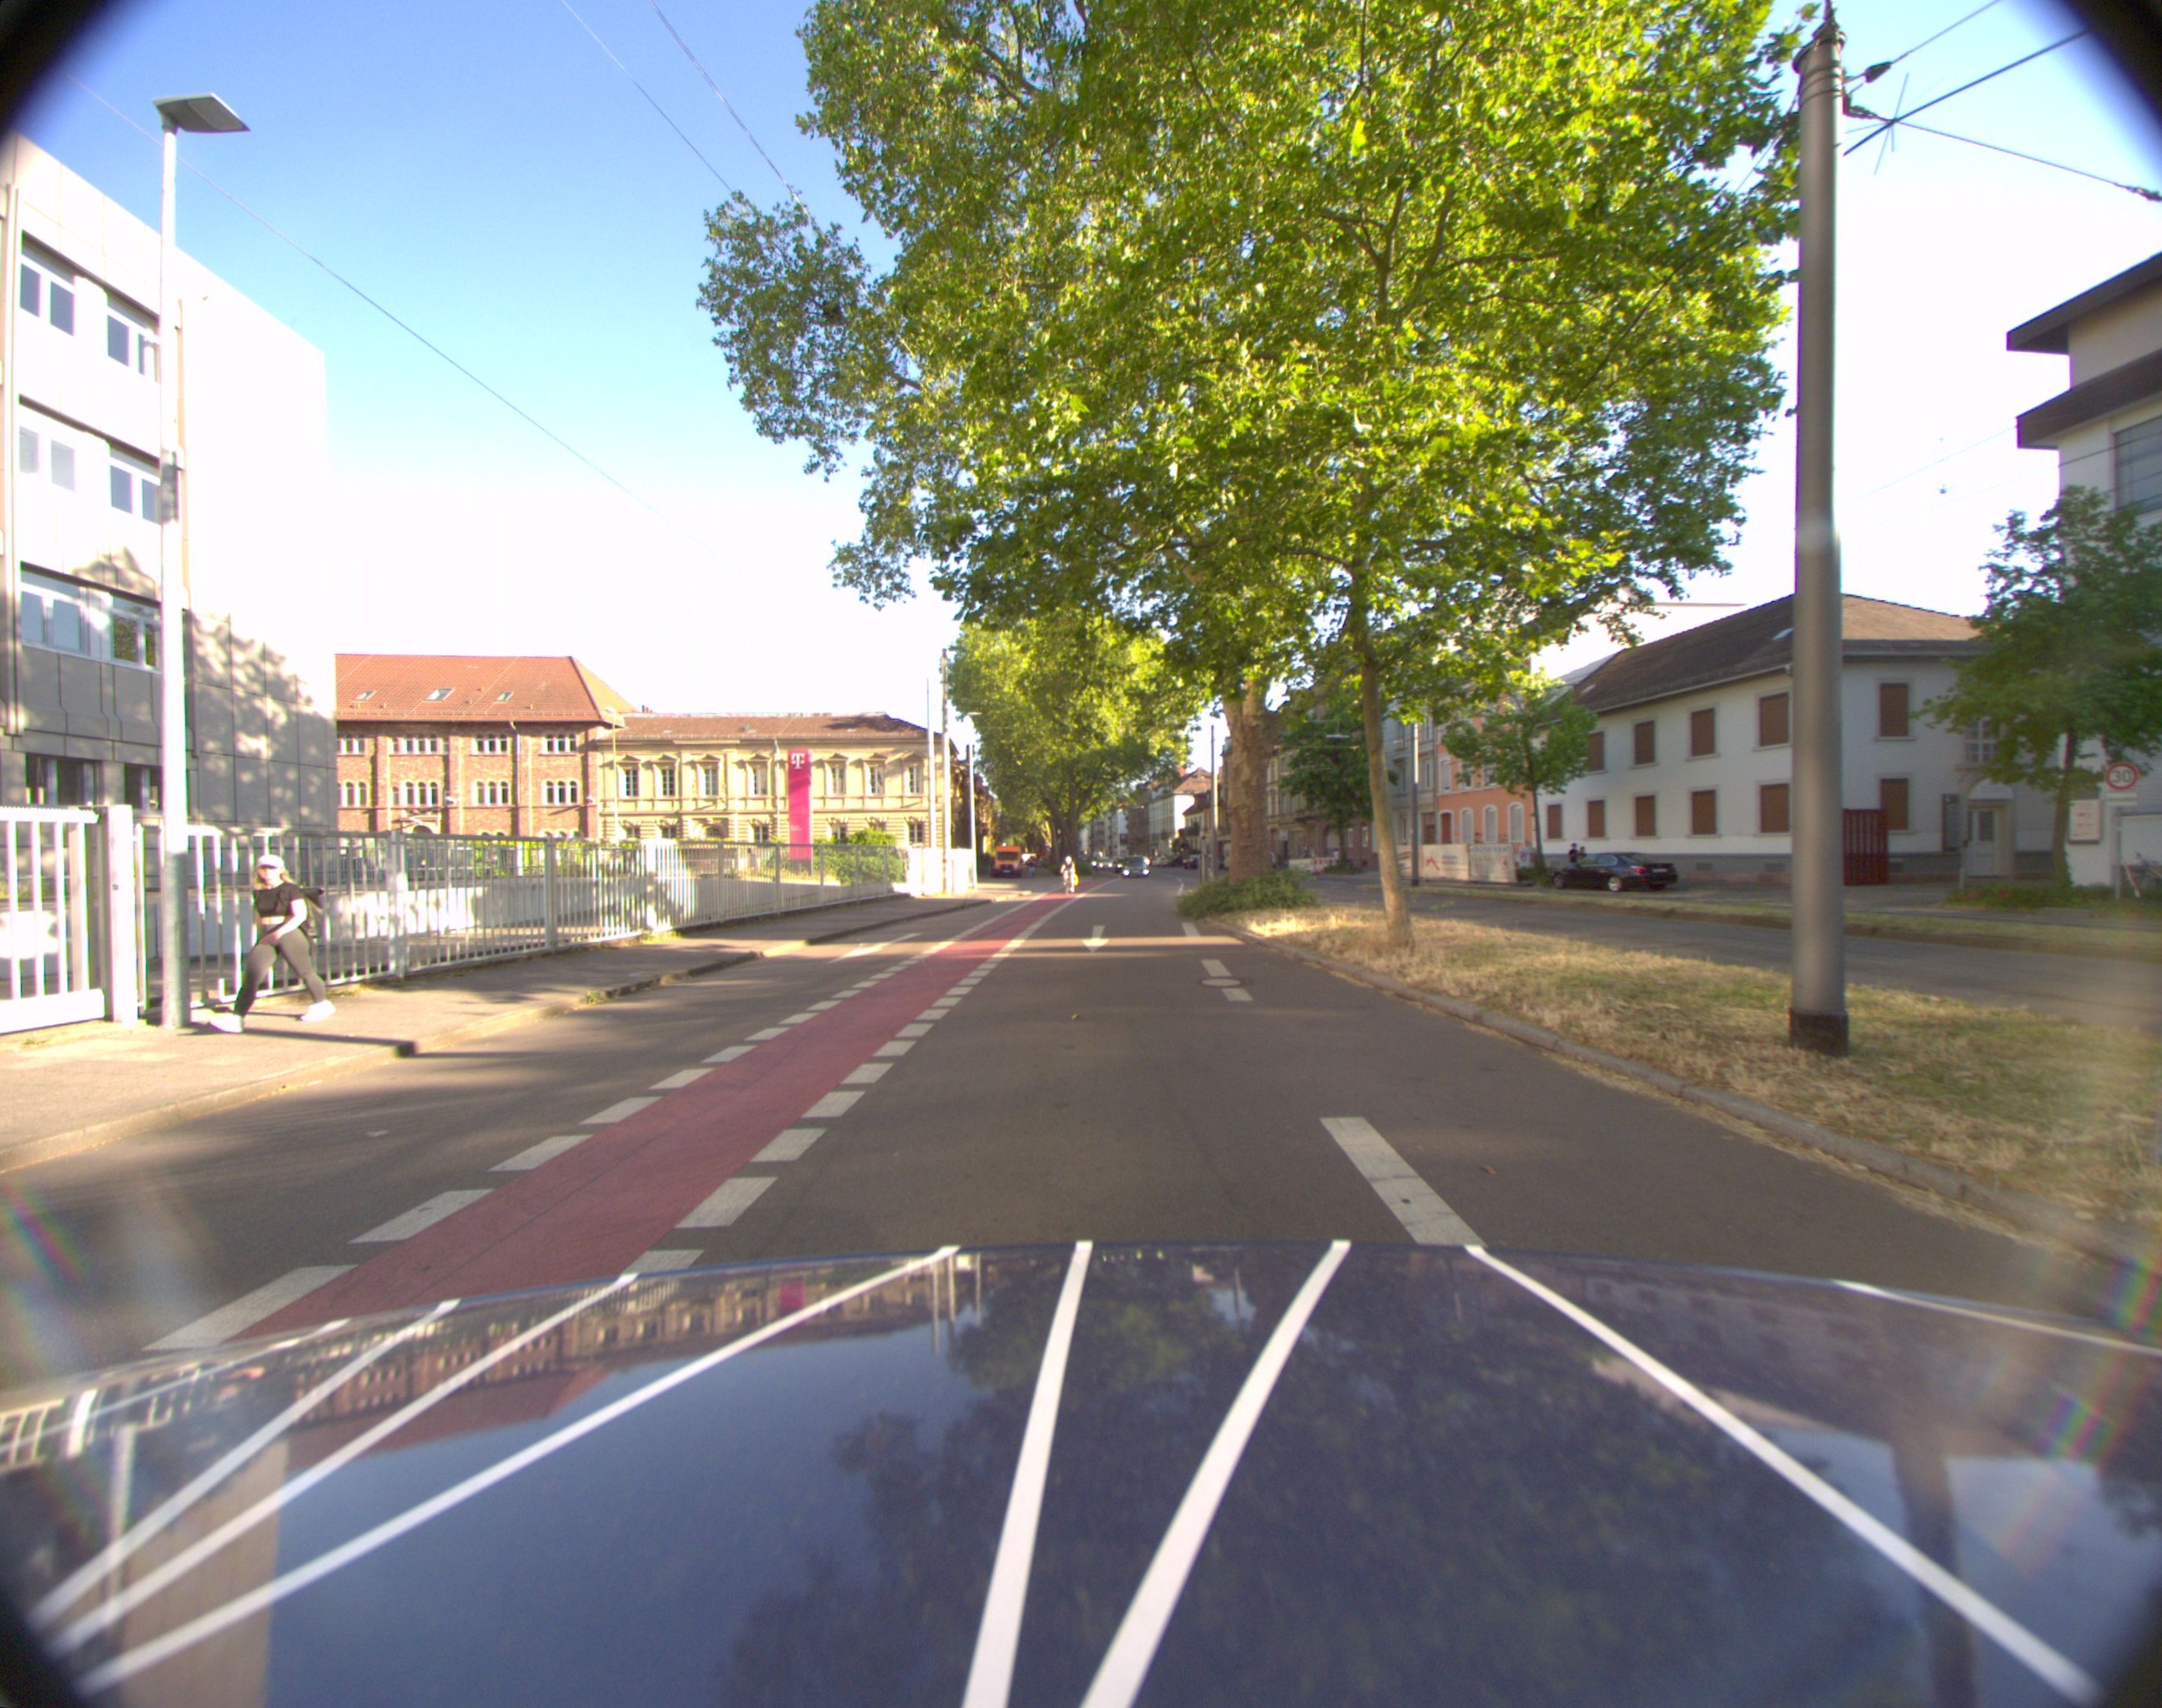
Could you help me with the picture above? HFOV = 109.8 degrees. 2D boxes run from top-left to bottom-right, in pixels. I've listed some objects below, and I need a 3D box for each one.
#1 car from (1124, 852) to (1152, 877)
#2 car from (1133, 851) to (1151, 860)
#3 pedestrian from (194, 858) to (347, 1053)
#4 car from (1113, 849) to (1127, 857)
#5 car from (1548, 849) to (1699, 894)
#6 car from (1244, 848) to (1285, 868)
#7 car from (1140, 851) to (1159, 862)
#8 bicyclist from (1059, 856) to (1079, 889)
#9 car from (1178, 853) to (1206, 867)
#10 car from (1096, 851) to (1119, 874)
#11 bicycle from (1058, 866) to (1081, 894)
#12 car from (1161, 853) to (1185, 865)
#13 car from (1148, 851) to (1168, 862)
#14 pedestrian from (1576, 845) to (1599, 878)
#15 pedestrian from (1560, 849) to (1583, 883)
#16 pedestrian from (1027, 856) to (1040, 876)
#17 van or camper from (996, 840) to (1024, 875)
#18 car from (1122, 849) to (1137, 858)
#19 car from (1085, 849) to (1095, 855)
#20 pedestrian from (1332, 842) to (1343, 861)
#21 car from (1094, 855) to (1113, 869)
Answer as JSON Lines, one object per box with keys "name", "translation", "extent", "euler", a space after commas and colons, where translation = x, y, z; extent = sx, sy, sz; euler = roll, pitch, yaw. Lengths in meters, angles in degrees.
{"name": "car", "translation": [4.247, 0.768, 56.997], "extent": [1.908, 1.634, 4.517], "euler": [-3, 1, 4]}
{"name": "car", "translation": [10.474, 0.263, 130.699], "extent": [2.088, 1.531, 4.253], "euler": [-4, 1, -7]}
{"name": "pedestrian", "translation": [-7.711, 0.923, 7.266], "extent": [0.592, 1.752, 0.770], "euler": [-1, 1, 1]}
{"name": "car", "translation": [7.916, -0.130, 156.217], "extent": [2.088, 1.531, 4.117], "euler": [-4, 1, -7]}
{"name": "car", "translation": [20.522, 0.617, 29.045], "extent": [2.088, 1.462, 4.576], "euler": [-4, 1, -7]}
{"name": "car", "translation": [16.887, 0.368, 70.137], "extent": [2.088, 1.664, 4.530], "euler": [-4, 1, -7]}
{"name": "car", "translation": [10.803, 0.342, 120.789], "extent": [2.088, 1.531, 4.095], "euler": [-4, 1, -7]}
{"name": "bicyclist", "translation": [-0.529, 0.813, 33.733], "extent": [0.727, 1.414, 0.859], "euler": [-2, 1, 5]}
{"name": "car", "translation": [13.527, 0.700, 92.915], "extent": [2.088, 1.531, 4.513], "euler": [-4, 1, -7]}
{"name": "car", "translation": [2.512, 0.765, 71.740], "extent": [1.998, 2.002, 4.000], "euler": [-2, 1, 2]}
{"name": "bicycle", "translation": [-0.494, 1.156, 33.966], "extent": [0.764, 1.137, 2.307], "euler": [-1, 0, 5]}
{"name": "car", "translation": [12.761, 0.655, 105.993], "extent": [2.088, 1.531, 5.101], "euler": [-4, 1, -7]}
{"name": "car", "translation": [11.599, 0.378, 114.869], "extent": [2.088, 1.531, 4.036], "euler": [-4, 1, -7]}
{"name": "pedestrian", "translation": [23.311, 0.337, 34.959], "extent": [0.537, 1.519, 0.711], "euler": [-1, 1, -5]}
{"name": "pedestrian", "translation": [22.347, 0.527, 34.601], "extent": [0.537, 1.519, 0.711], "euler": [-1, 1, -11]}
{"name": "pedestrian", "translation": [-3.592, 0.873, 57.281], "extent": [0.899, 1.464, 0.810], "euler": [-1, 1, -1]}
{"name": "van or camper", "translation": [-5.460, 0.228, 58.694], "extent": [1.999, 2.578, 5.624], "euler": [-1, 0, -4]}
{"name": "car", "translation": [9.004, -0.028, 140.909], "extent": [2.088, 1.531, 4.006], "euler": [-4, 1, -7]}
{"name": "car", "translation": [2.529, -0.677, 218.647], "extent": [2.088, 1.531, 4.124], "euler": [-4, 1, -7]}
{"name": "pedestrian", "translation": [21.198, -0.225, 62.746], "extent": [0.642, 1.519, 0.614], "euler": [-1, 1, -16]}
{"name": "car", "translation": [2.527, 0.893, 83.929], "extent": [1.998, 1.376, 4.000], "euler": [-2, 1, 2]}
